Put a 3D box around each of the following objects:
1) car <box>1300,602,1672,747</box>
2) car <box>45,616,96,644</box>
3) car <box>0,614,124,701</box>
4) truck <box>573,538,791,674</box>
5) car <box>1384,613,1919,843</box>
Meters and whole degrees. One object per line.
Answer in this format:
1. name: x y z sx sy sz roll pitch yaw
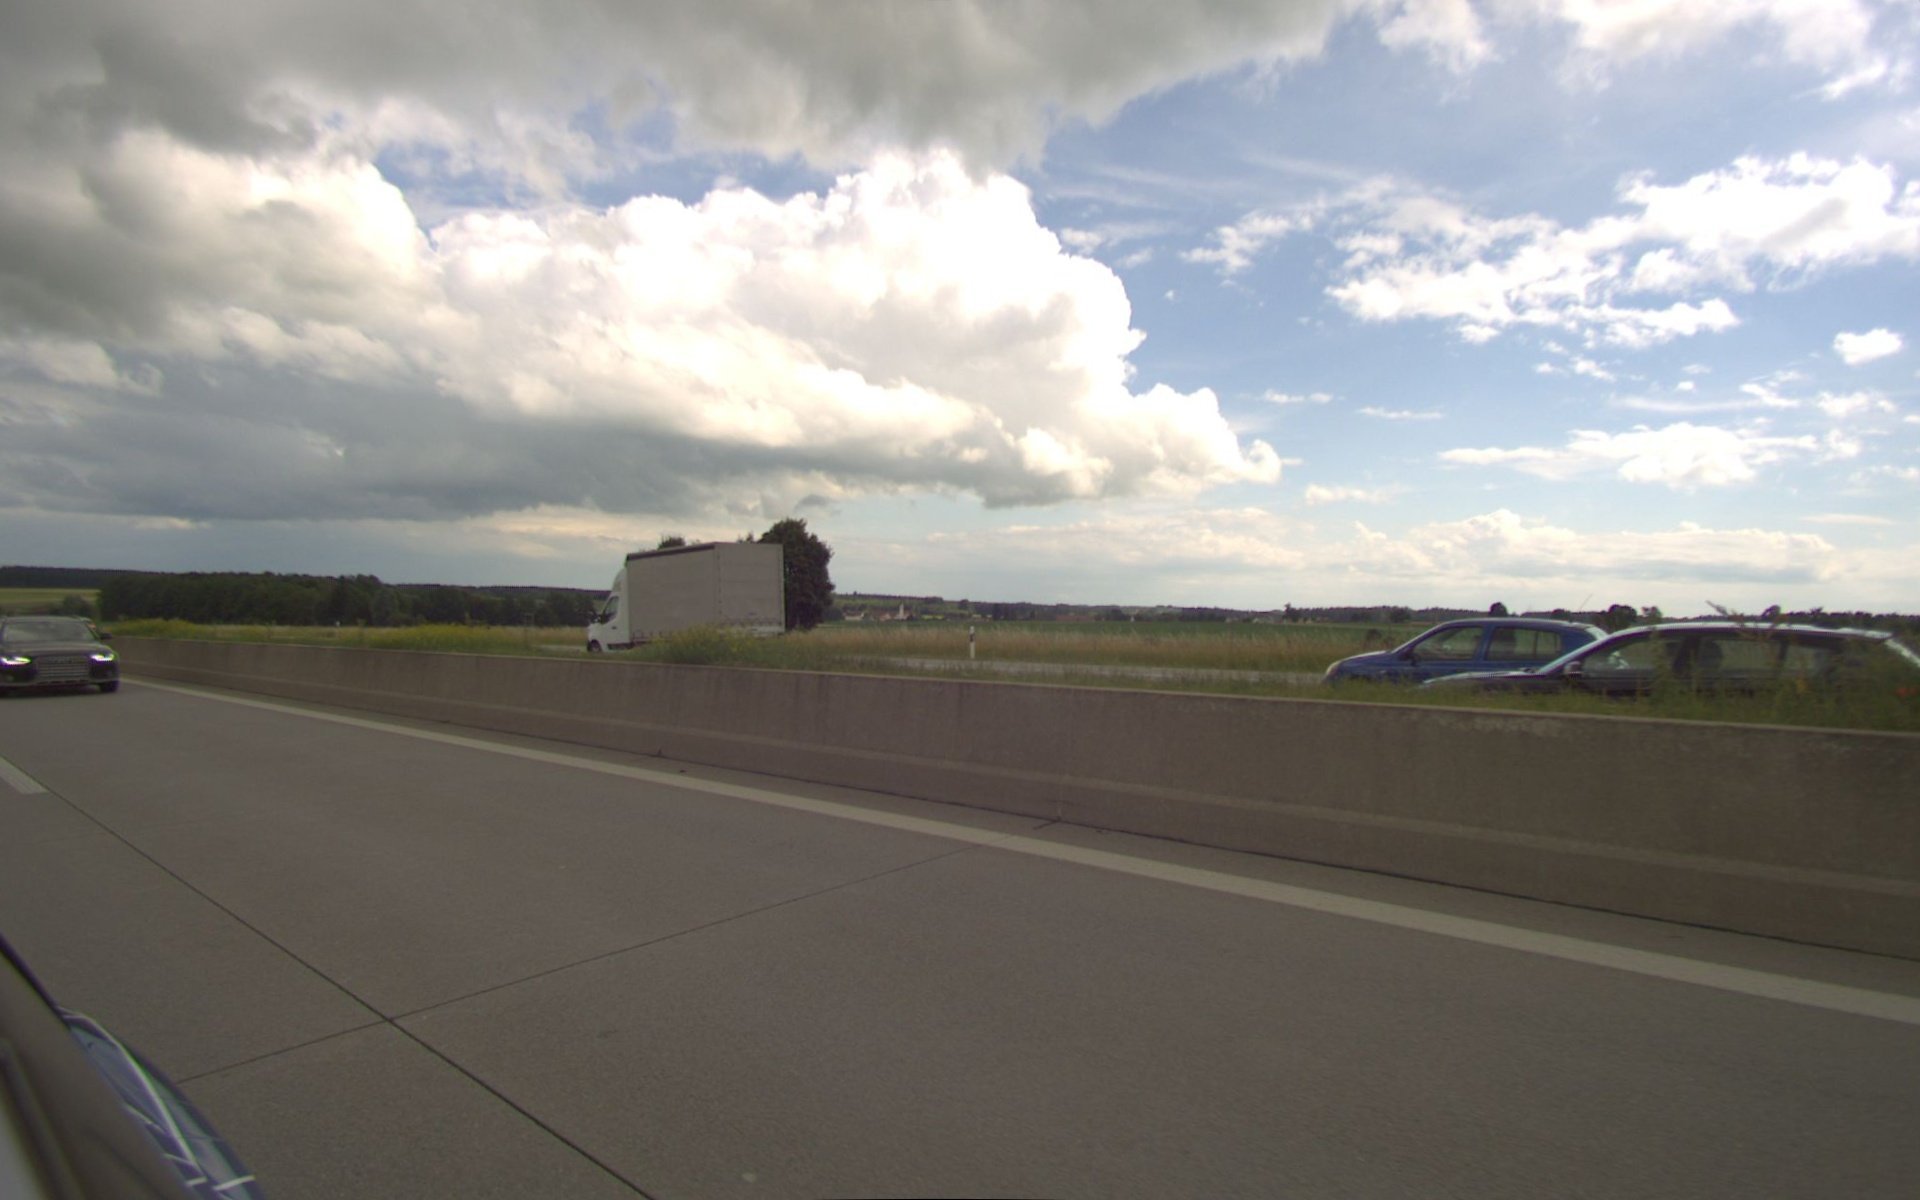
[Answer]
1. car: 6.977 0.849 13.640 4.113 1.624 1.973 0 0 41
2. car: -56.246 1.876 63.980 3.998 1.648 1.905 0 0 41
3. car: -17.776 1.048 19.595 3.999 1.484 1.914 -1 -1 42
4. truck: -7.940 0.139 28.310 7.295 3.352 2.332 0 0 42
5. car: 6.295 0.969 9.285 4.113 1.624 1.734 0 0 41
